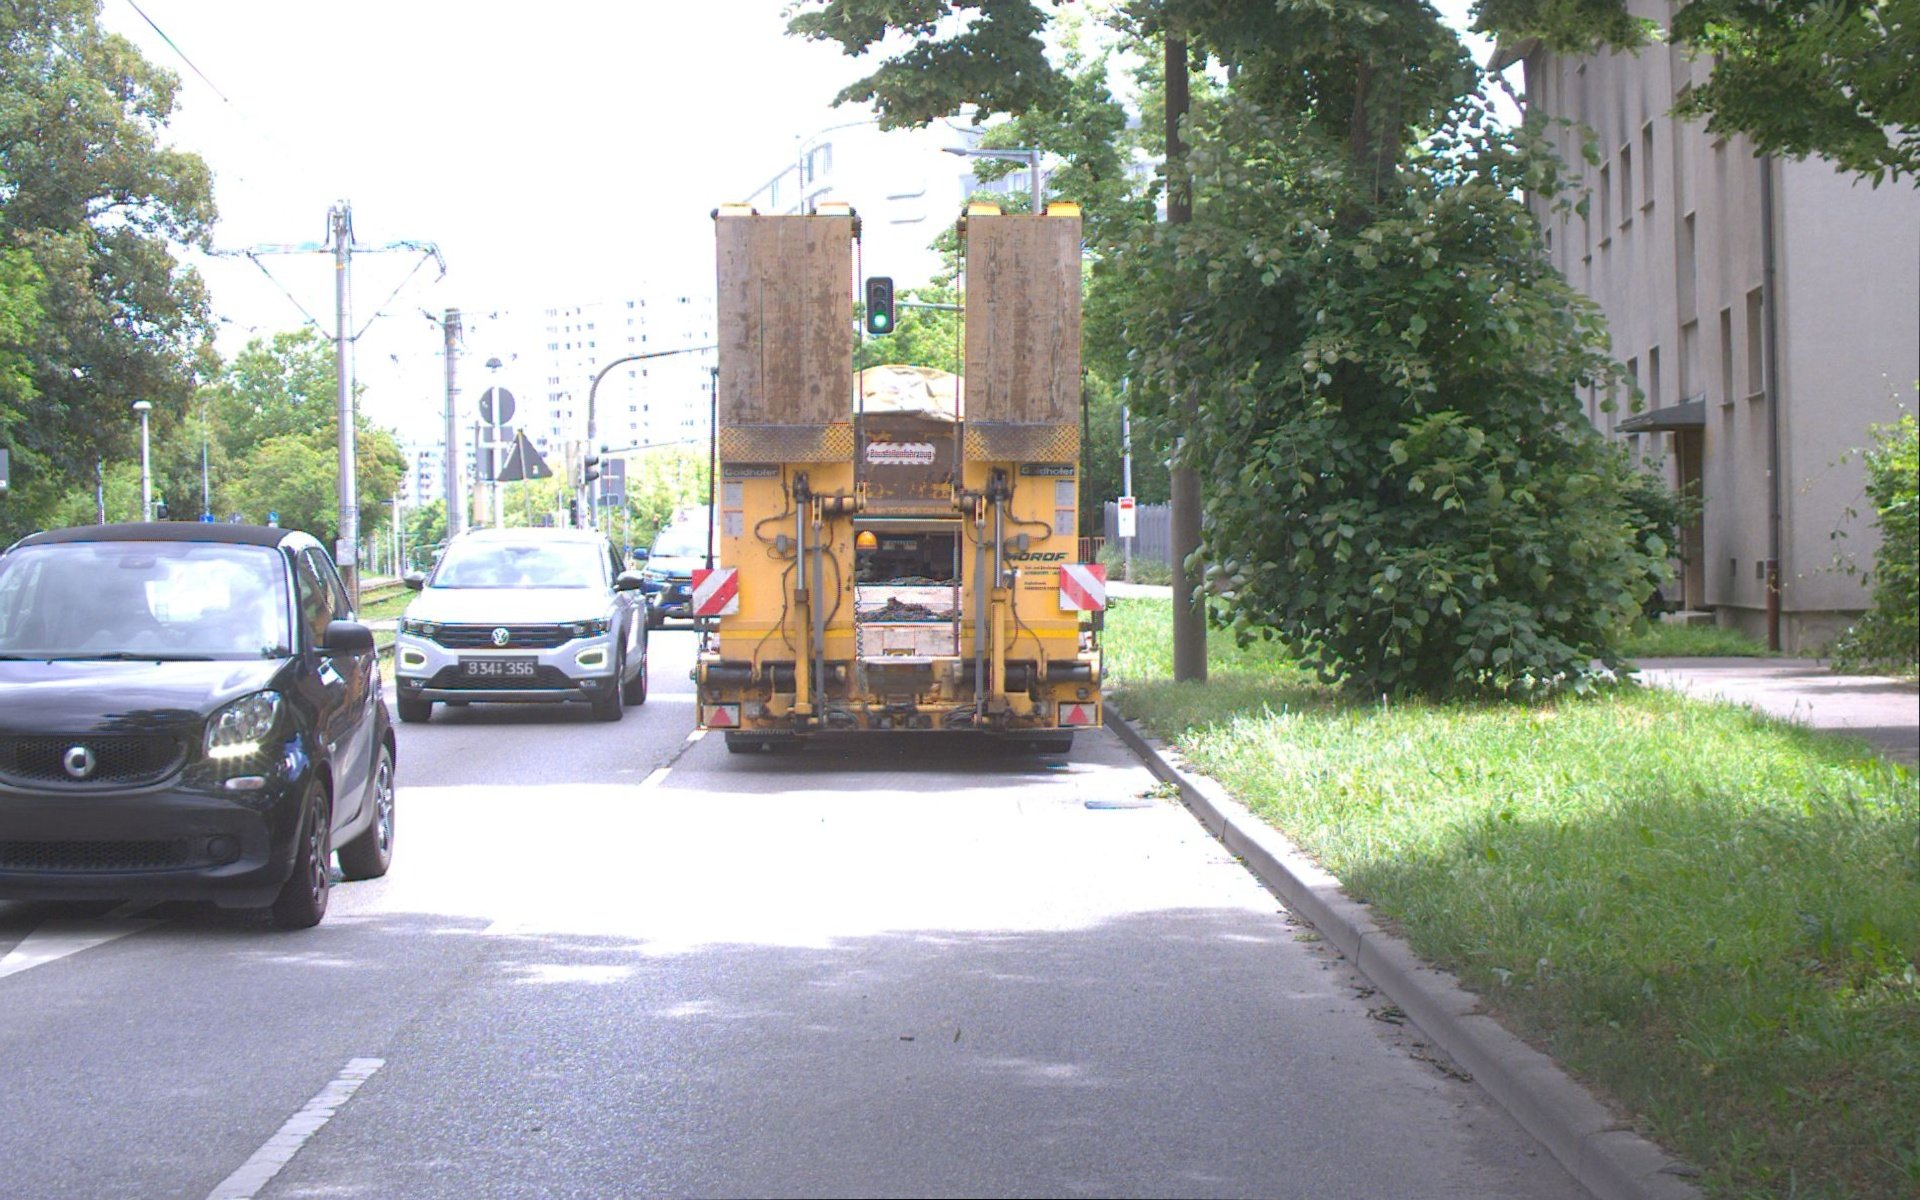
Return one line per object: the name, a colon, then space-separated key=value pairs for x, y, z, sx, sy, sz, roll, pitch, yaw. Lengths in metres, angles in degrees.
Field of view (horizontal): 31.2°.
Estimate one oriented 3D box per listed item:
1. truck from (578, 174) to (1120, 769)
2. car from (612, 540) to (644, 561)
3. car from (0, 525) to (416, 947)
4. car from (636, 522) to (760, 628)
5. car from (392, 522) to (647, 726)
truck: x=-0.928 y=-0.819 z=27.375 sx=3.316 sy=3.638 sz=12.563 roll=0 pitch=0 yaw=-2
car: x=-22.647 y=-3.350 z=234.275 sx=1.993 sy=1.415 sz=4.001 roll=1 pitch=0 yaw=-7
car: x=-3.289 y=0.469 z=14.283 sx=1.637 sy=1.528 sz=3.275 roll=1 pitch=1 yaw=-2
car: x=-4.066 y=-0.426 z=53.832 sx=1.713 sy=1.561 sz=4.167 roll=1 pitch=1 yaw=-1
car: x=-3.601 y=0.140 z=28.691 sx=1.716 sy=1.539 sz=4.001 roll=1 pitch=2 yaw=-2
